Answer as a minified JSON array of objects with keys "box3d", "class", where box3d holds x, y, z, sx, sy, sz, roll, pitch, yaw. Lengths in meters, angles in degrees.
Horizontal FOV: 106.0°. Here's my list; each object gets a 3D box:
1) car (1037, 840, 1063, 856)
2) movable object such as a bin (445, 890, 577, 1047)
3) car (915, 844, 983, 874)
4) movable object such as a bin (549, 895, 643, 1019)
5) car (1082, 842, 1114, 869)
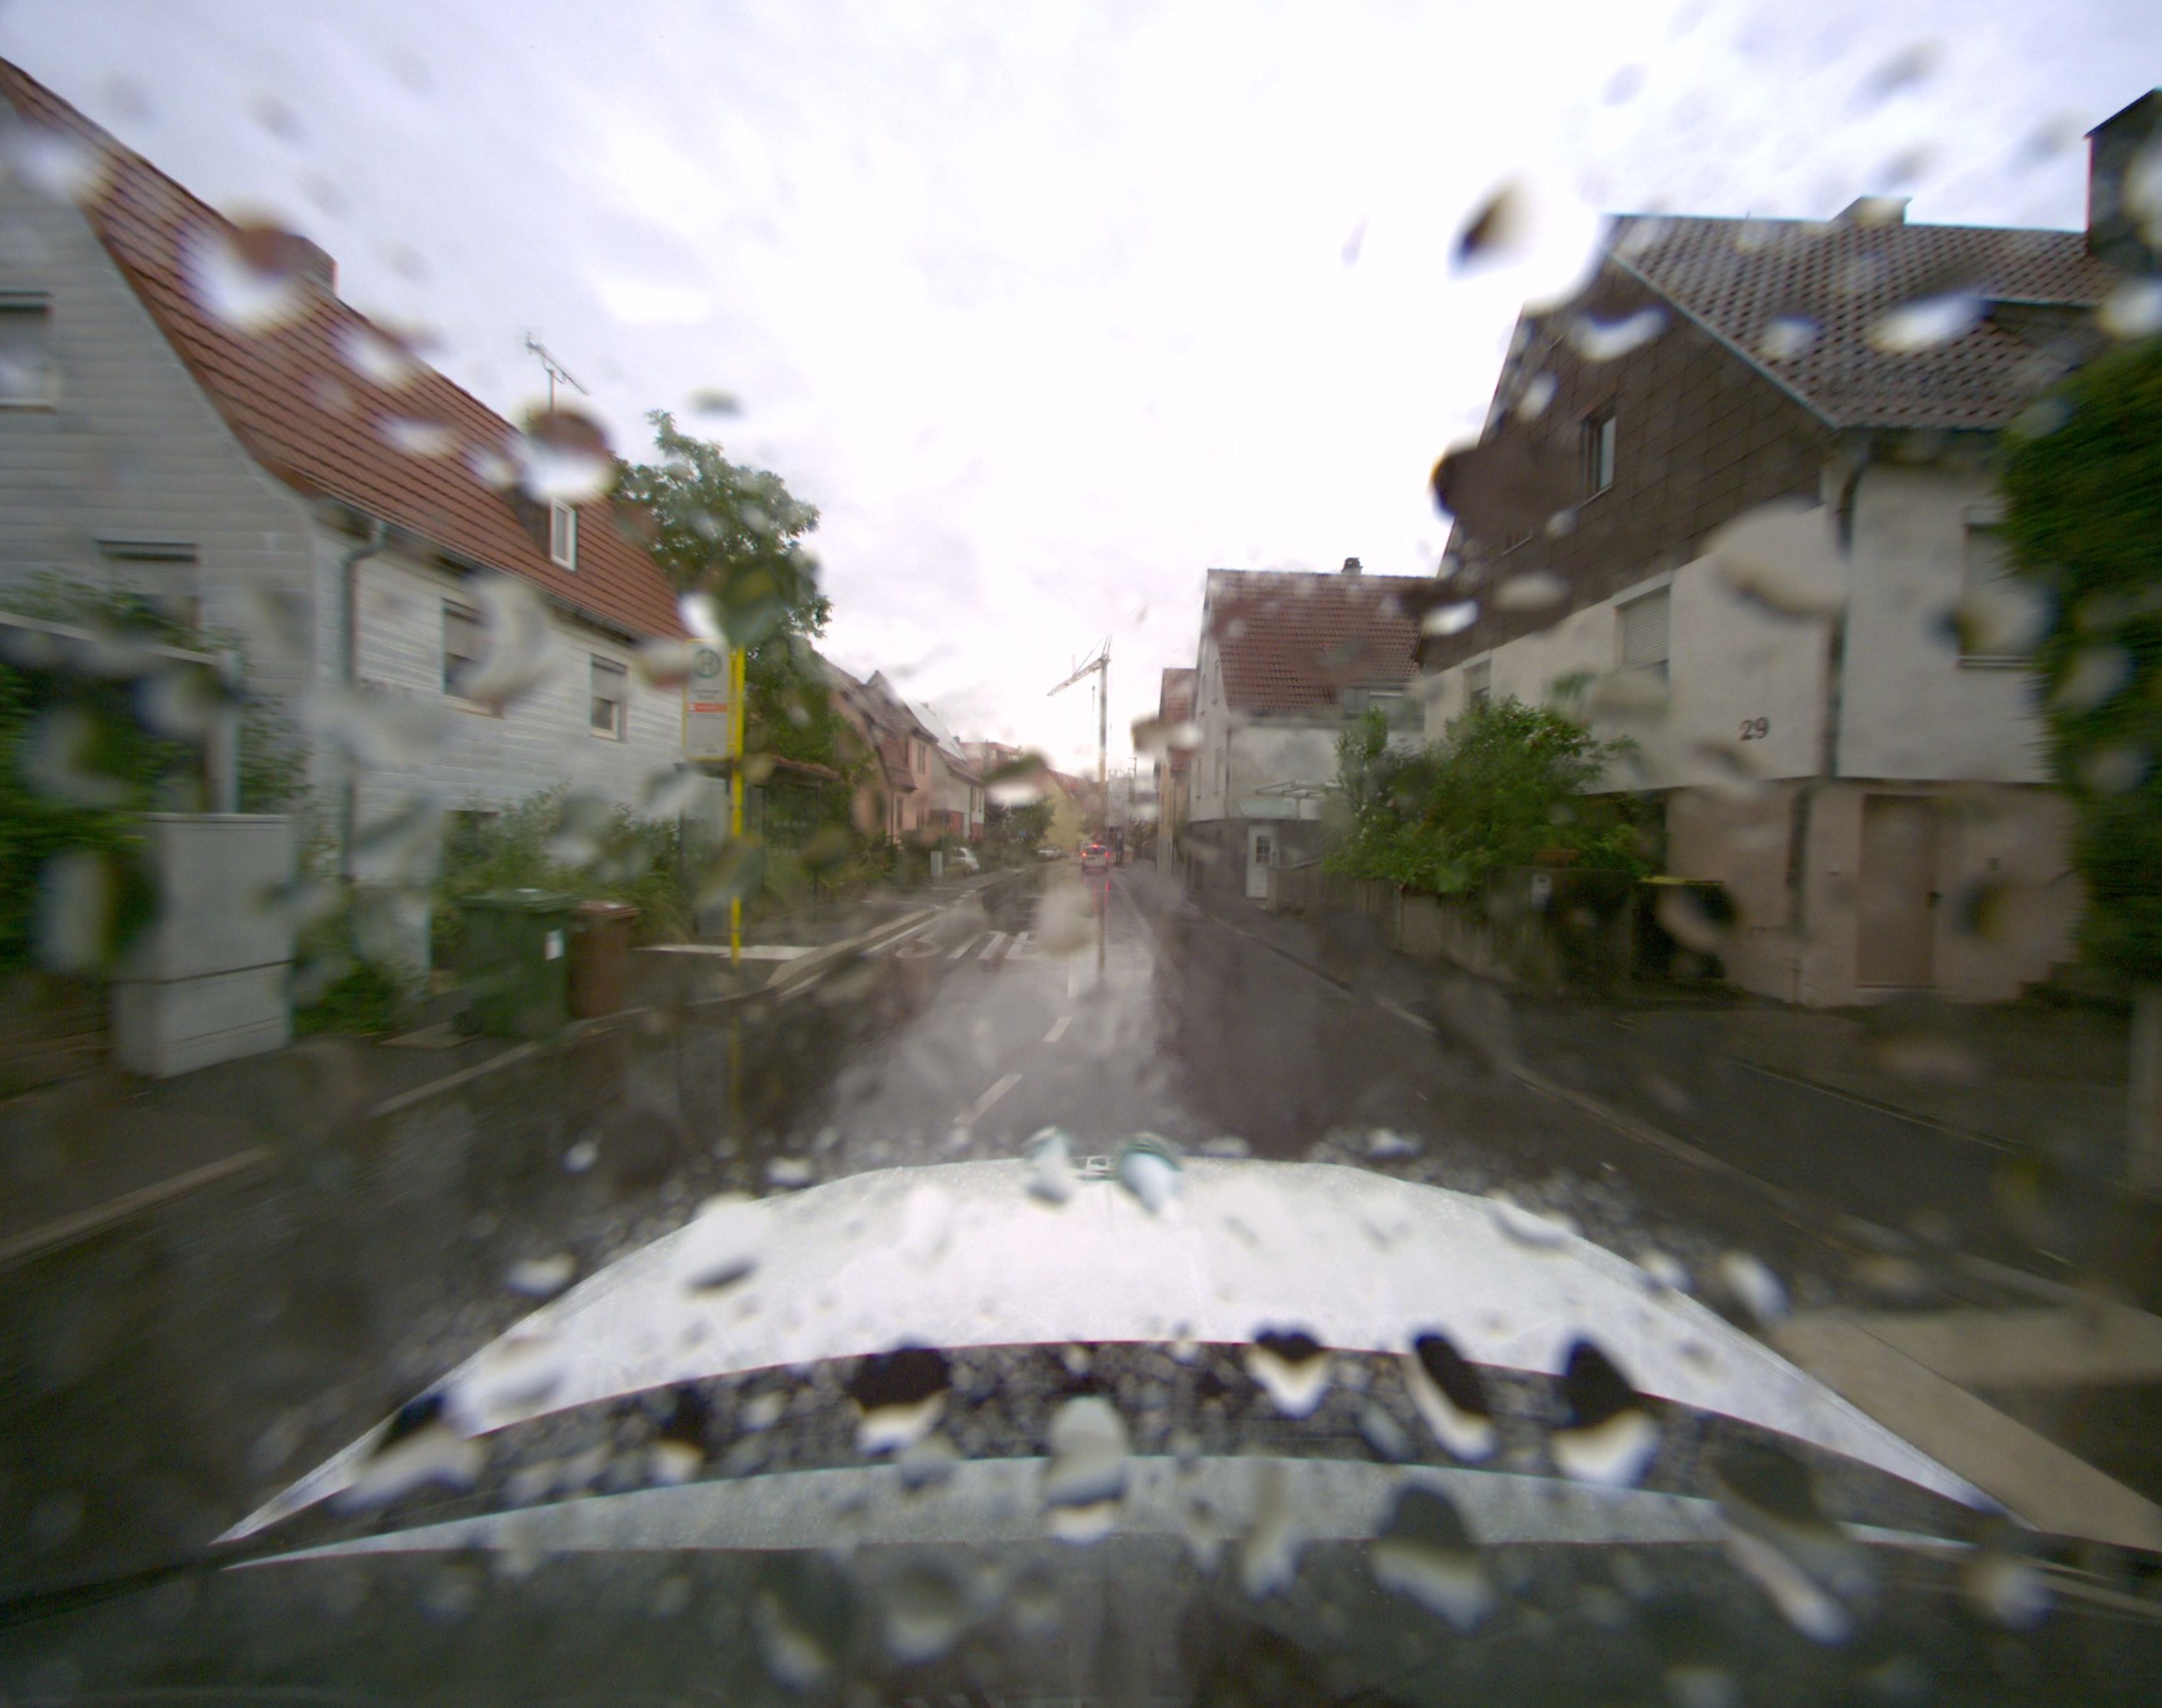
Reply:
[{"box3d":[-3.317,-0.675,87.721,1.588,1.677,3.955,2,2,15],"class":"car"},{"box3d":[-4.306,0.843,6.177,0.551,1.082,0.528,4,0,2],"class":"movable object such as a bin"},{"box3d":[-7.557,0.273,46.806,3.532,1.529,1.663,3,0,1],"class":"car"},{"box3d":[-4.082,0.851,6.872,0.466,0.938,0.455,4,2,2],"class":"movable object such as a bin"},{"box3d":[1.158,0.094,58.570,2.175,1.869,3.999,0,0,0],"class":"car"}]
